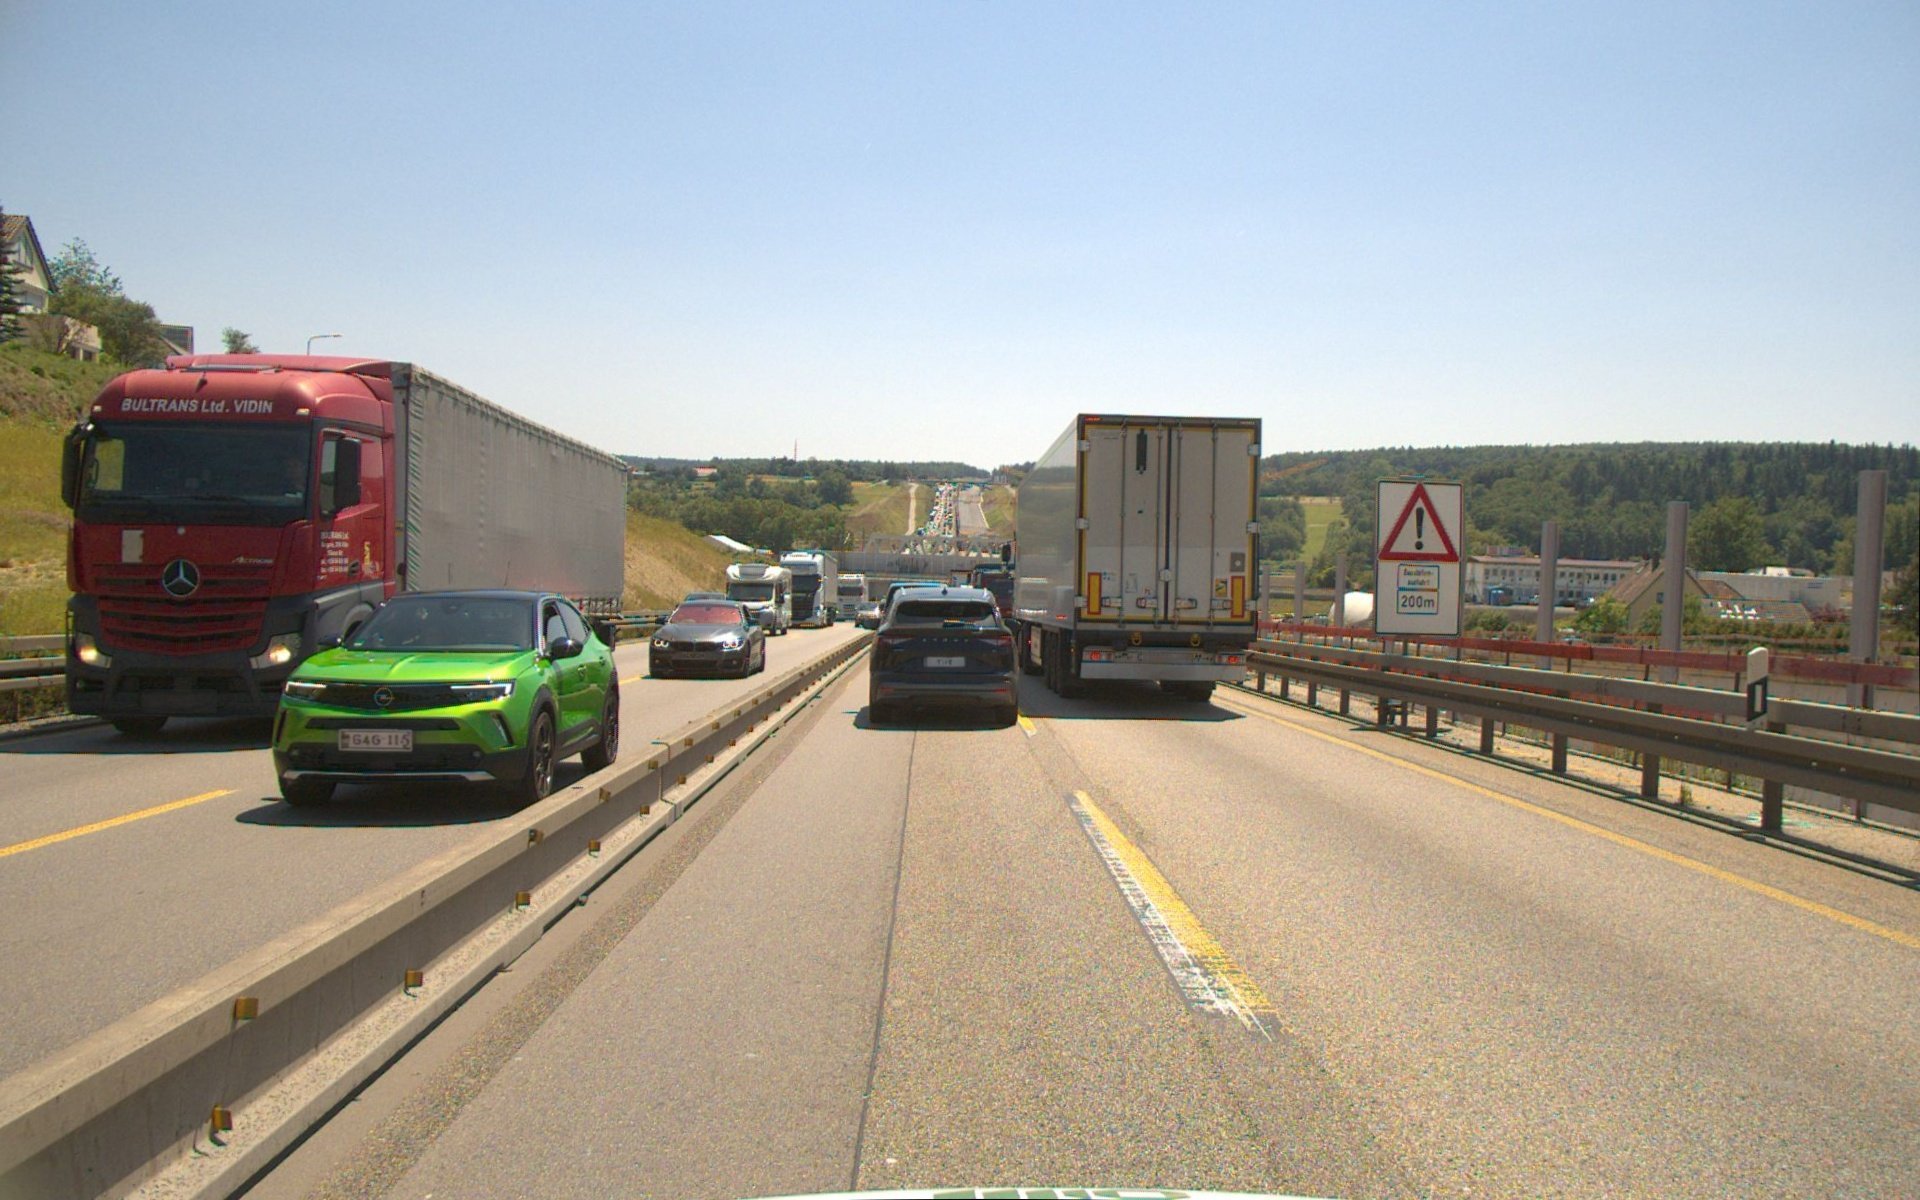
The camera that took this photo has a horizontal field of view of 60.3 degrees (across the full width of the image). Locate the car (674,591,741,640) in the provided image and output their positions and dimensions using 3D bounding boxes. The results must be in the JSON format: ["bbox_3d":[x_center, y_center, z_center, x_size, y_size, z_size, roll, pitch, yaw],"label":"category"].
[{"bbox_3d":[-8.374,0.498,55.201,1.682,1.579,4.263,1,0,-2],"label":"car"}]

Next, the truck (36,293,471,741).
[{"bbox_3d":[-7.381,-0.788,17.995,2.764,4.196,4.597,1,0,-1],"label":"truck"}]

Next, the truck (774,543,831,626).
[{"bbox_3d":[-8.520,-0.806,89.945,2.718,4.362,4.675,1,0,-2],"label":"truck"}]

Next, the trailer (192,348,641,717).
[{"bbox_3d":[-7.548,-0.792,25.768,2.799,4.196,13.433,1,0,-1],"label":"trailer"}]

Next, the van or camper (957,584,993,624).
[{"bbox_3d":[0.864,0.233,98.535,1.953,2.283,3.999,2,0,-1],"label":"van or camper"}]

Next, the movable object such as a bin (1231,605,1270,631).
[{"bbox_3d":[33.625,2.058,191.986,2.829,2.960,9.477,1,0,0],"label":"movable object such as a bin"}]

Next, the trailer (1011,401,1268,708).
[{"bbox_3d":[2.652,-0.531,29.456,2.745,4.129,14.112,1,-1,-1],"label":"trailer"}]

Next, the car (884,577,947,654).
[{"bbox_3d":[-1.084,0.378,41.689,1.444,1.826,3.297,2,0,0],"label":"car"}]

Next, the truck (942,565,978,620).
[{"bbox_3d":[-0.025,-0.544,128.201,2.467,4.028,7.597,2,0,-2],"label":"truck"}]

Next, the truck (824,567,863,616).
[{"bbox_3d":[-10.269,-0.724,145.728,3.173,4.233,4.246,1,0,-2],"label":"truck"}]

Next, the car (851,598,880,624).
[{"bbox_3d":[-5.636,0.642,99.153,1.596,1.505,3.378,1,0,-2],"label":"car"}]

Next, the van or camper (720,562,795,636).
[{"bbox_3d":[-8.179,-0.047,67.398,2.287,2.826,7.514,1,0,-2],"label":"van or camper"}]

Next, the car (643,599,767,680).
[{"bbox_3d":[-4.692,0.687,30.977,1.732,1.386,4.410,1,0,-1],"label":"car"}]

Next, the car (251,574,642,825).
[{"bbox_3d":[-3.668,0.633,12.586,1.718,1.534,3.999,3,0,-1],"label":"car"}]

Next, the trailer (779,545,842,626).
[{"bbox_3d":[-8.699,-0.783,97.594,2.754,4.362,14.030,1,0,-2],"label":"trailer"}]

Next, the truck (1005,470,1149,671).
[{"bbox_3d":[2.488,-0.574,36.697,2.720,4.129,4.903,1,-1,-1],"label":"truck"}]

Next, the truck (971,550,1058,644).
[{"bbox_3d":[1.897,-0.039,62.727,2.756,3.190,12.835,1,-1,0],"label":"truck"}]

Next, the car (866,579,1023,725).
[{"bbox_3d":[-0.201,0.589,20.467,1.764,1.649,3.297,1,0,-1],"label":"car"}]
